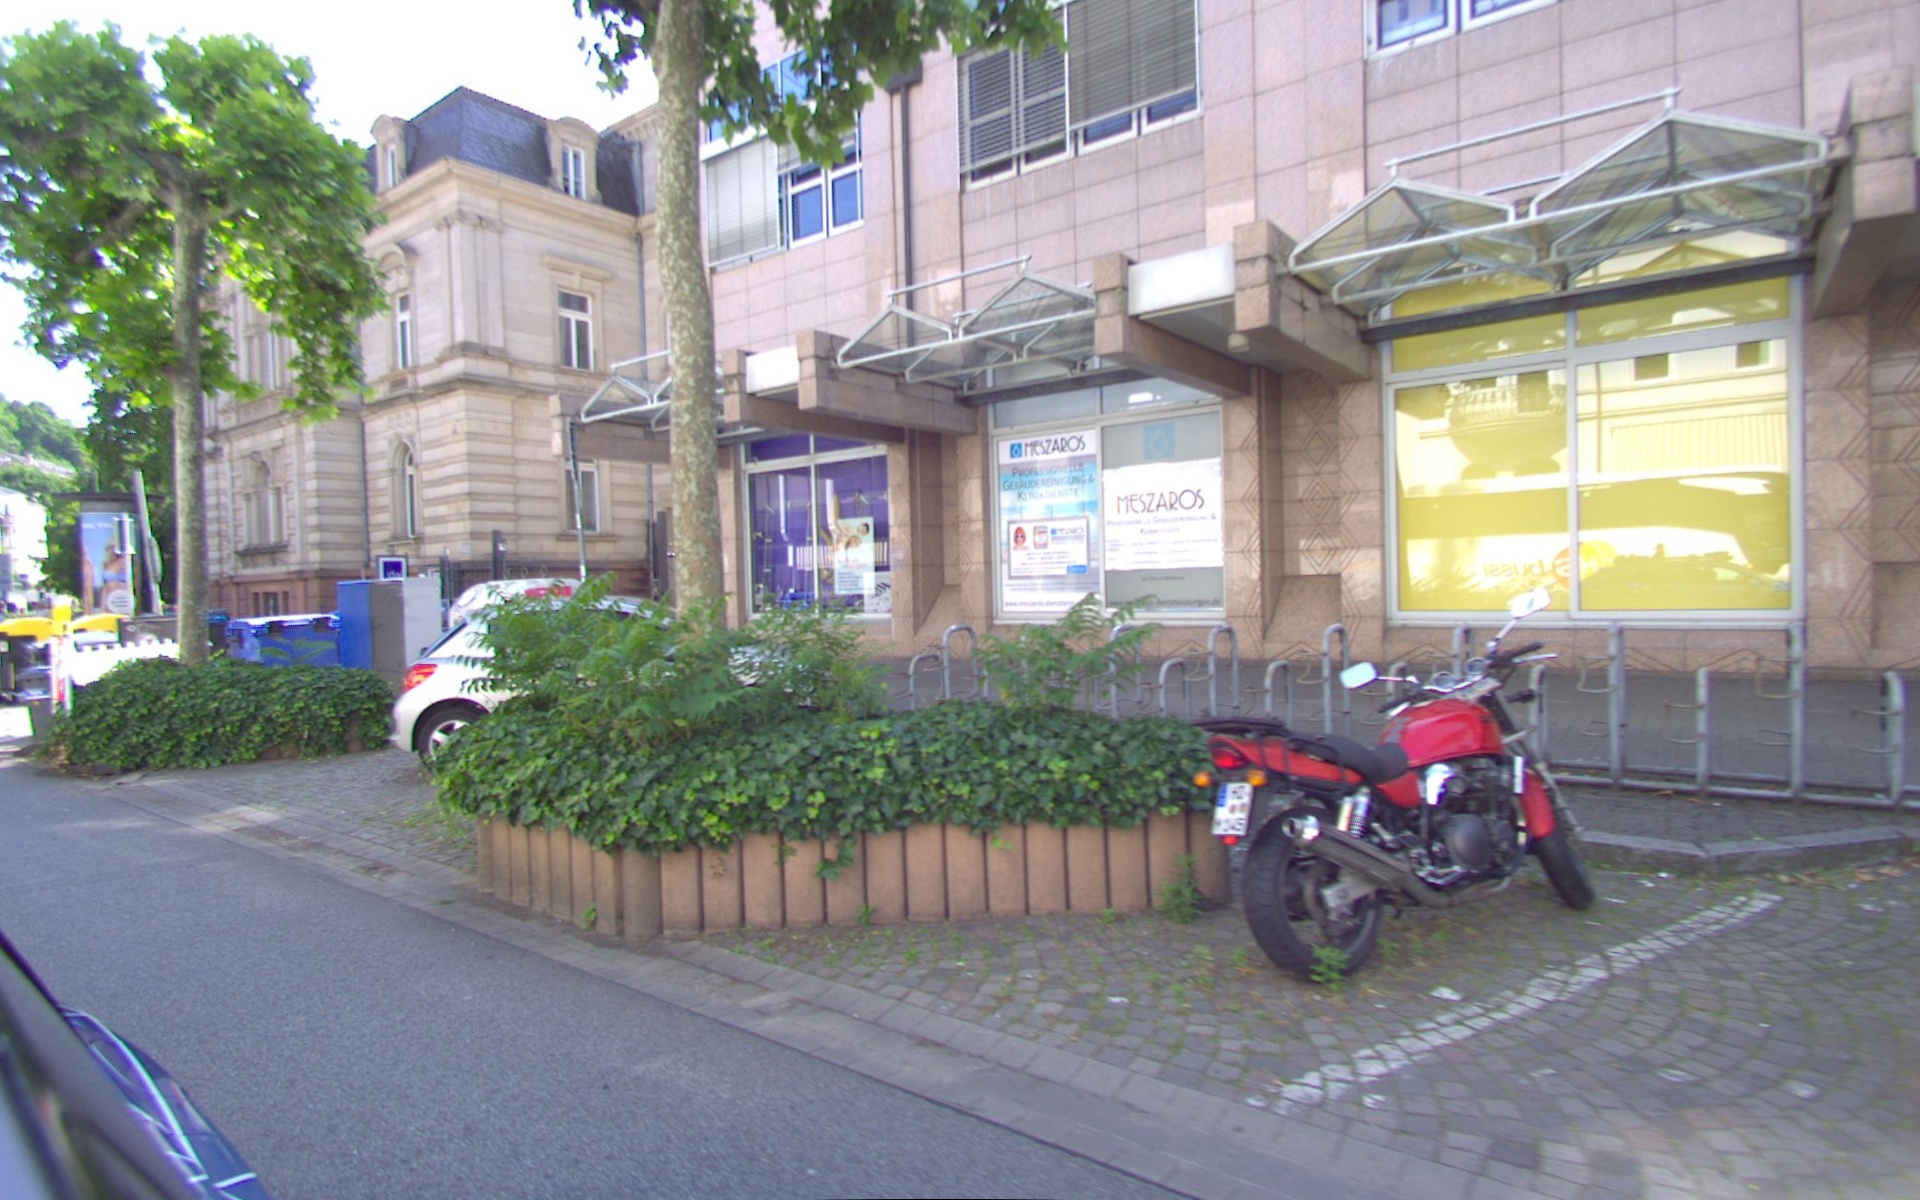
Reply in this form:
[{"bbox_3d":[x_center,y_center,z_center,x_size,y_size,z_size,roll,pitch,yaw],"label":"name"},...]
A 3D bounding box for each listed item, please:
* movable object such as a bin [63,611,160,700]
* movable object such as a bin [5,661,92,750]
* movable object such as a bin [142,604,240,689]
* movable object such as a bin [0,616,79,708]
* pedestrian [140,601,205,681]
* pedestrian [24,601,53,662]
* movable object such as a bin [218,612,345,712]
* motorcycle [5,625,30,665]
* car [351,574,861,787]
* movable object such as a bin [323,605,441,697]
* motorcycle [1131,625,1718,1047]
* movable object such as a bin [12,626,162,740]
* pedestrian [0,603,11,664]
[{"bbox_3d":[-15.392,0.988,18.354,1.438,1.461,1.112,-2,2,43],"label":"movable object such as a bin"},{"bbox_3d":[-10.354,1.189,11.509,0.495,0.946,0.553,-2,-1,11],"label":"movable object such as a bin"},{"bbox_3d":[-14.528,0.858,19.118,1.364,1.461,1.196,-2,2,43],"label":"movable object such as a bin"},{"bbox_3d":[-16.142,1.054,17.529,1.438,1.461,1.112,-2,2,43],"label":"movable object such as a bin"},{"bbox_3d":[-17.706,0.906,22.760,0.745,1.738,0.883,-1,1,31],"label":"pedestrian"},{"bbox_3d":[-26.298,0.886,28.871,0.542,1.677,0.937,-2,2,-44],"label":"pedestrian"},{"bbox_3d":[-9.963,0.892,14.875,1.078,1.309,1.198,-3,2,37],"label":"movable object such as a bin"},{"bbox_3d":[-26.569,1.255,28.536,0.448,1.005,2.163,-5,3,-43],"label":"motorcycle"},{"bbox_3d":[-3.059,0.627,9.410,3.991,1.505,1.940,-3,1,-12],"label":"car"},{"bbox_3d":[-9.103,0.789,15.956,1.125,1.309,1.198,-3,2,37],"label":"movable object such as a bin"},{"bbox_3d":[1.865,0.763,4.040,2.142,1.178,0.923,-3,1,-25],"label":"motorcycle"},{"bbox_3d":[-11.173,1.025,12.972,0.852,1.309,1.265,-1,1,37],"label":"movable object such as a bin"},{"bbox_3d":[-27.277,0.943,28.511,0.690,1.707,0.687,1,2,40],"label":"pedestrian"}]
